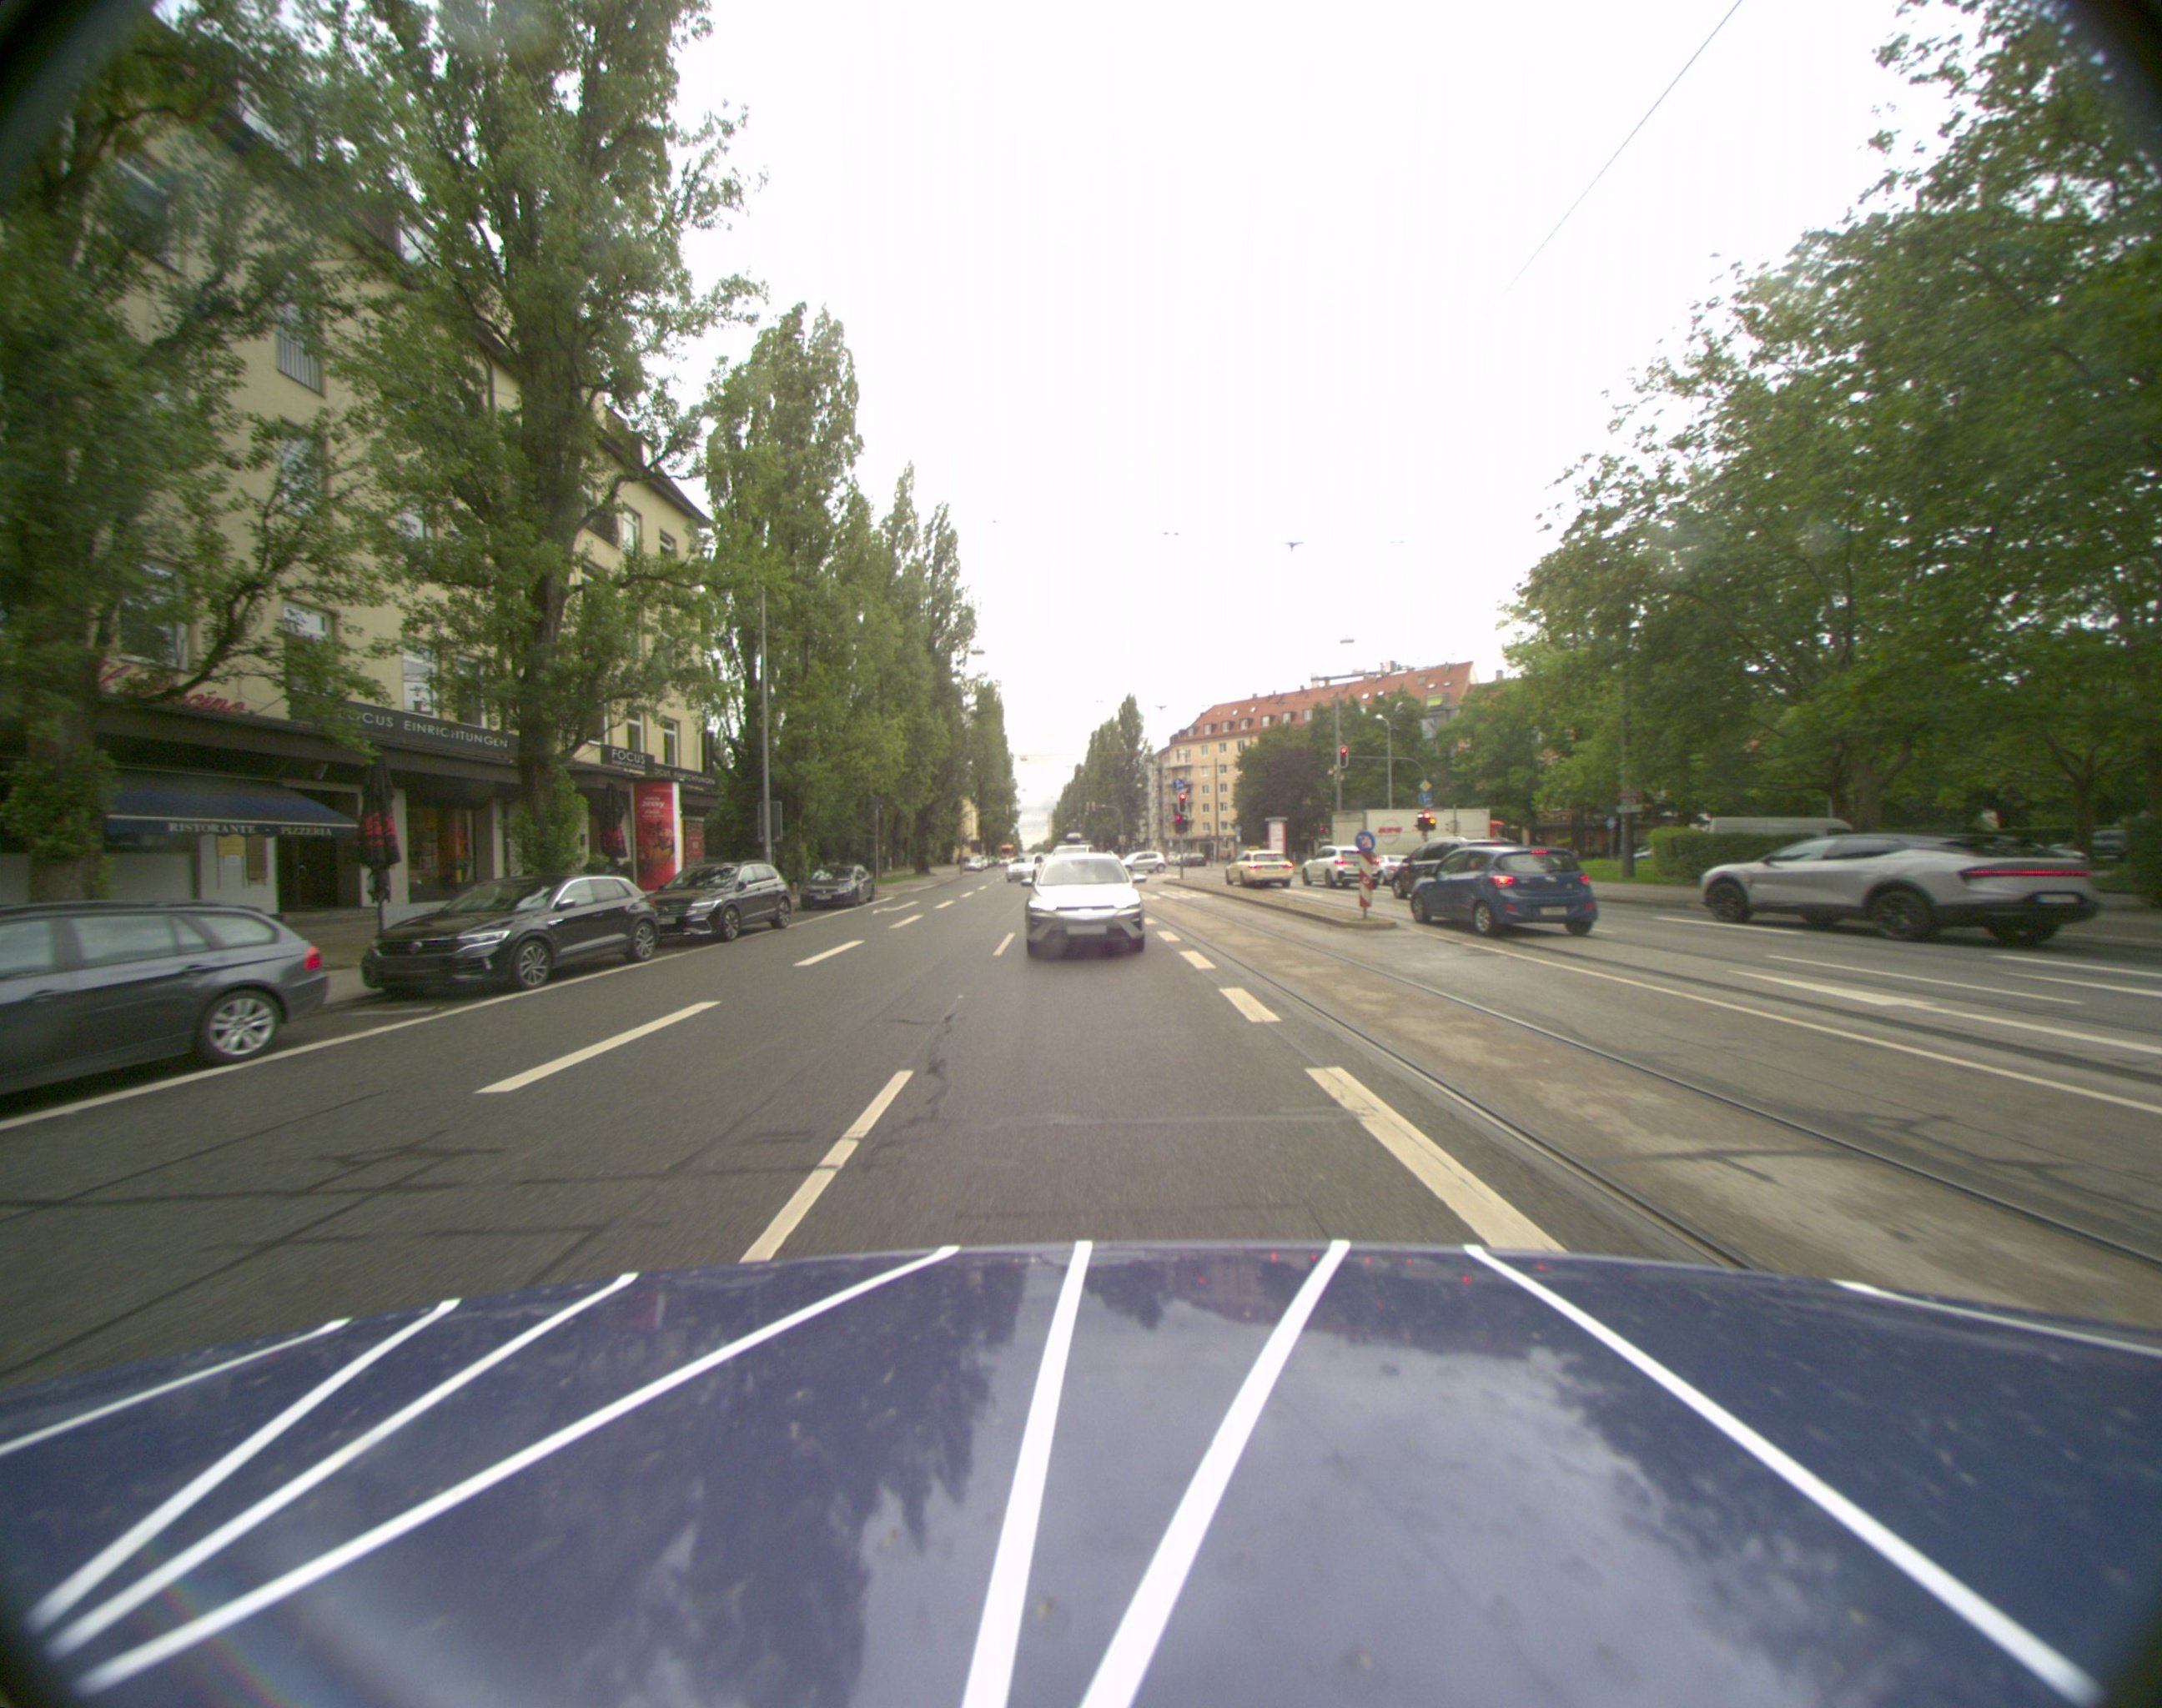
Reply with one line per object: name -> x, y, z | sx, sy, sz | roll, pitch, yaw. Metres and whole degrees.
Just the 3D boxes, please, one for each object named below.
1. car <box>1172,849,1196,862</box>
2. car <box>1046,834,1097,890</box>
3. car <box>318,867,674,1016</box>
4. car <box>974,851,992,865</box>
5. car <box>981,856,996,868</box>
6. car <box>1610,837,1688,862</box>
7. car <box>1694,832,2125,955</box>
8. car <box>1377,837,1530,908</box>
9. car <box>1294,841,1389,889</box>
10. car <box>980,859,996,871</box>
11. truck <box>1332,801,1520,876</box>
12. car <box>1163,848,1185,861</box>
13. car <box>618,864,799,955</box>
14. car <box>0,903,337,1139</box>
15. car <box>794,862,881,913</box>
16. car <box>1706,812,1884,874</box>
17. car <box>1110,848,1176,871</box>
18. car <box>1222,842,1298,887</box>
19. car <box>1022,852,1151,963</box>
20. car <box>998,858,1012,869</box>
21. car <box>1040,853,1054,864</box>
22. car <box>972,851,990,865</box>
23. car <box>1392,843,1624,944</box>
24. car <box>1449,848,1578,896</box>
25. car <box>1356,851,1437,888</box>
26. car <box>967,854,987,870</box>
car -> 11.205, 0.119, 82.746 | 1.730, 1.399, 4.373 | -1, 1, -4
car -> -0.347, 0.310, 34.589 | 1.912, 2.337, 4.946 | -1, 1, 4
car -> -8.009, 1.061, 11.065 | 1.804, 1.603, 4.304 | -1, 1, 0
car -> -11.462, 0.421, 88.896 | 1.786, 1.477, 4.137 | -2, 1, -4
car -> -12.977, 1.121, 106.587 | 1.786, 1.477, 4.137 | -2, 1, -4
car -> 43.026, -0.344, 57.579 | 4.552, 1.809, 1.937 | -1, 1, -4
car -> 13.125, 0.507, 12.695 | 1.804, 1.633, 4.999 | -1, 1, 1
car -> 9.843, 0.417, 20.575 | 1.826, 1.673, 4.890 | -1, 1, 1
car -> 10.011, 0.364, 29.641 | 1.920, 1.673, 4.890 | -1, 1, -1
car -> -12.212, 1.457, 99.868 | 1.786, 1.477, 4.137 | -2, 1, -4
truck -> 19.913, -0.834, 43.594 | 11.730, 3.958, 2.742 | 0, 1, -24
car -> 10.751, 0.019, 88.082 | 1.730, 1.399, 4.373 | -1, 1, -4
car -> -7.853, 1.077, 16.567 | 1.725, 1.603, 4.470 | -1, 1, 0
car -> -8.027, 1.198, 5.056 | 1.804, 1.390, 4.381 | -1, 1, 0
car -> -8.149, 1.062, 25.828 | 1.804, 1.457, 3.998 | -2, 1, -3
car -> 26.739, -0.481, 28.697 | 4.612, 2.003, 2.004 | 6, 4, 42
car -> 4.340, 0.392, 53.248 | 4.212, 1.515, 1.773 | -1, -1, -21
car -> 7.109, 0.377, 30.695 | 1.827, 1.629, 4.890 | -1, 1, -1
car -> -0.039, 0.780, 12.747 | 1.775, 1.515, 4.207 | -1, -1, -3
car -> -10.776, 1.288, 108.162 | 1.786, 1.477, 4.137 | -2, 1, -4
car -> -4.630, 0.582, 104.052 | 1.786, 1.477, 4.137 | -2, 1, -4
car -> -11.036, 0.410, 84.041 | 1.786, 1.477, 4.256 | -2, 1, -5
car -> 7.365, 0.564, 13.704 | 1.804, 1.514, 4.354 | 0, 1, 1
car -> 13.658, 0.503, 24.282 | 1.826, 1.373, 4.098 | -1, 1, 1
car -> 13.168, 0.590, 32.002 | 1.735, 1.403, 4.102 | 2, 1, 1
car -> -10.590, 0.780, 77.781 | 1.786, 1.477, 4.350 | -2, 1, -5
